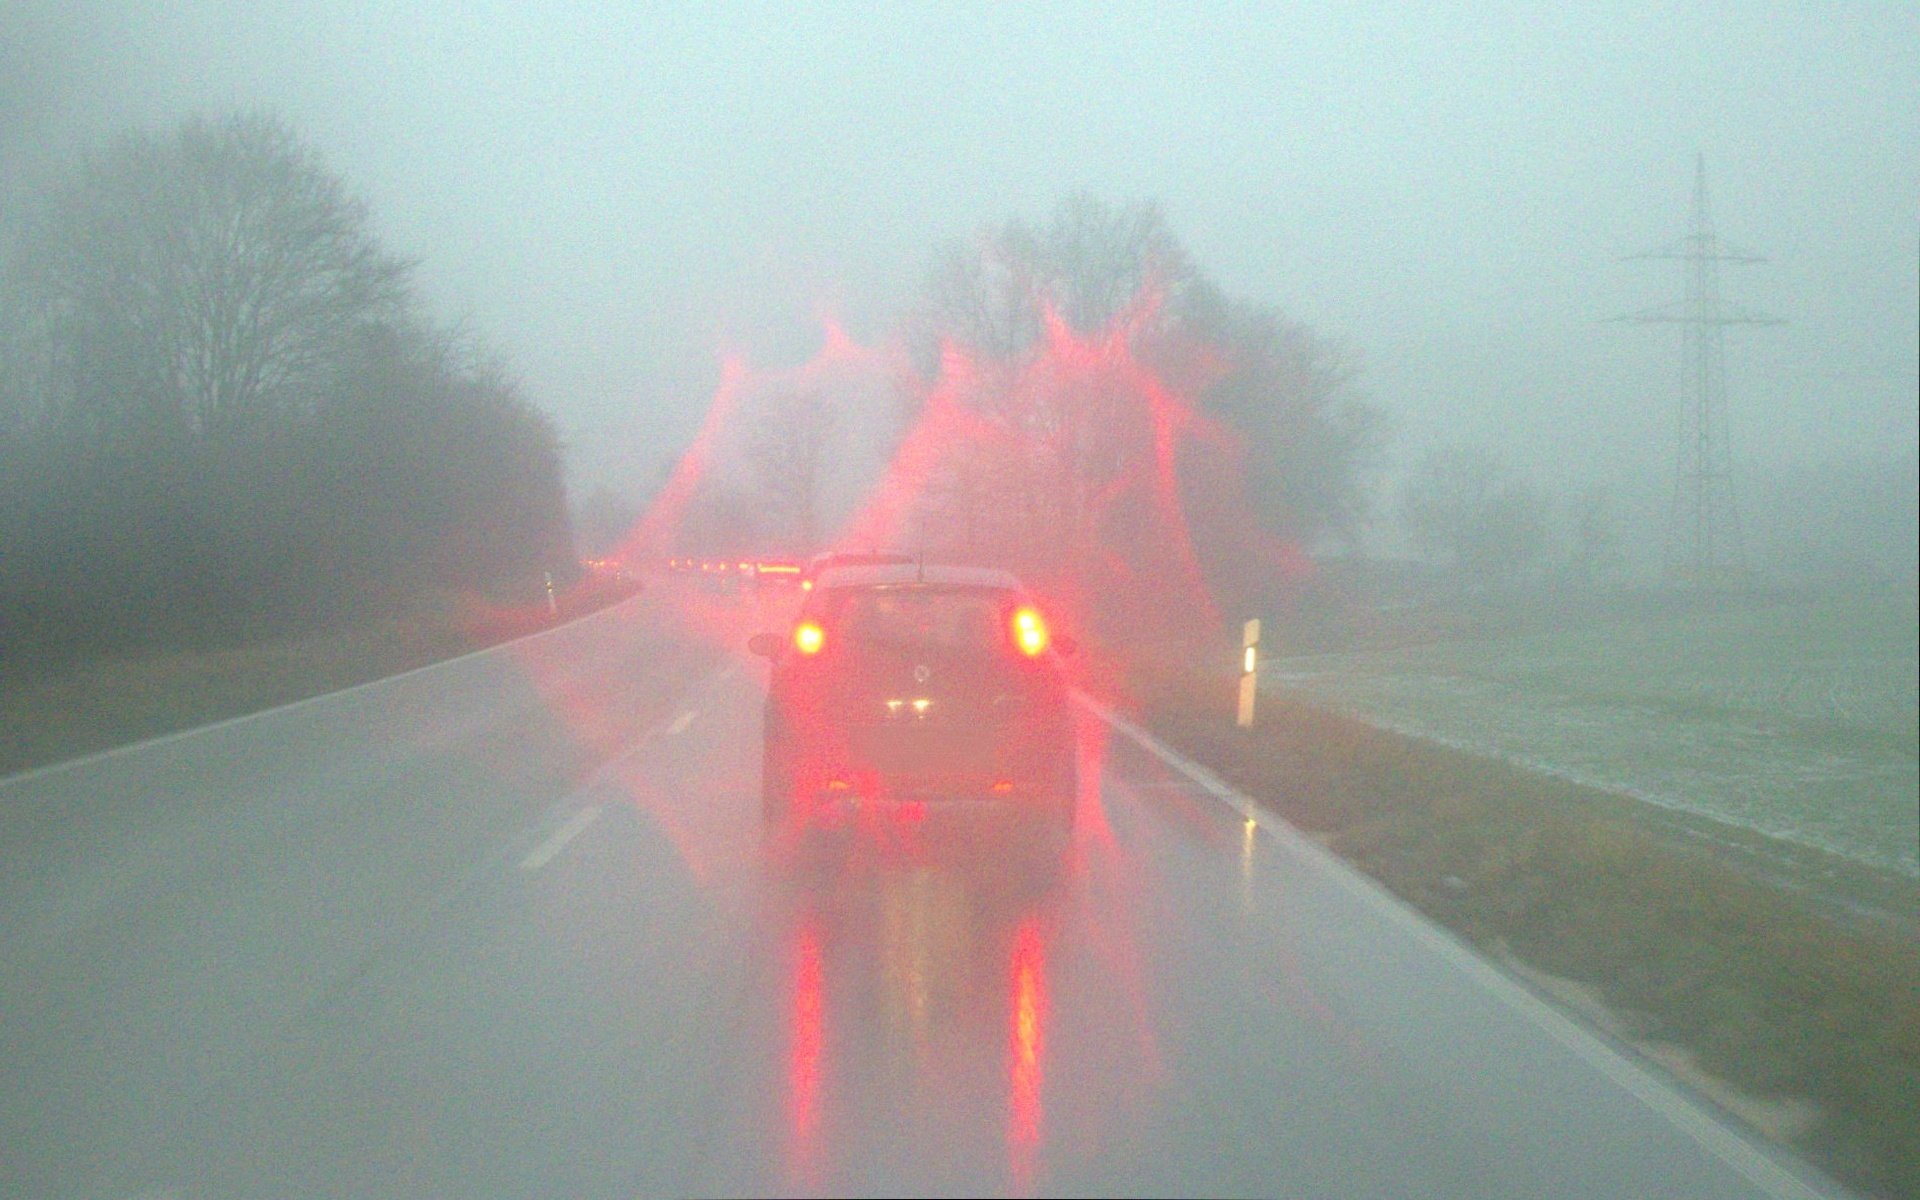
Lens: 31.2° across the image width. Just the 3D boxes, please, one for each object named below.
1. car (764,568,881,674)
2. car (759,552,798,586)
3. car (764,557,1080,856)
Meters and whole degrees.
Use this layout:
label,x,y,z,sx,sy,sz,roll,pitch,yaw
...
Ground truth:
label,x,y,z,sx,sy,sz,roll,pitch,yaw
car,-1.942,0.263,48.113,1.546,1.392,3.870,1,1,-3
car,-7.533,-1.285,142.917,1.547,1.392,3.870,1,1,-2
car,-0.204,0.528,19.644,1.602,1.517,3.869,1,1,0
